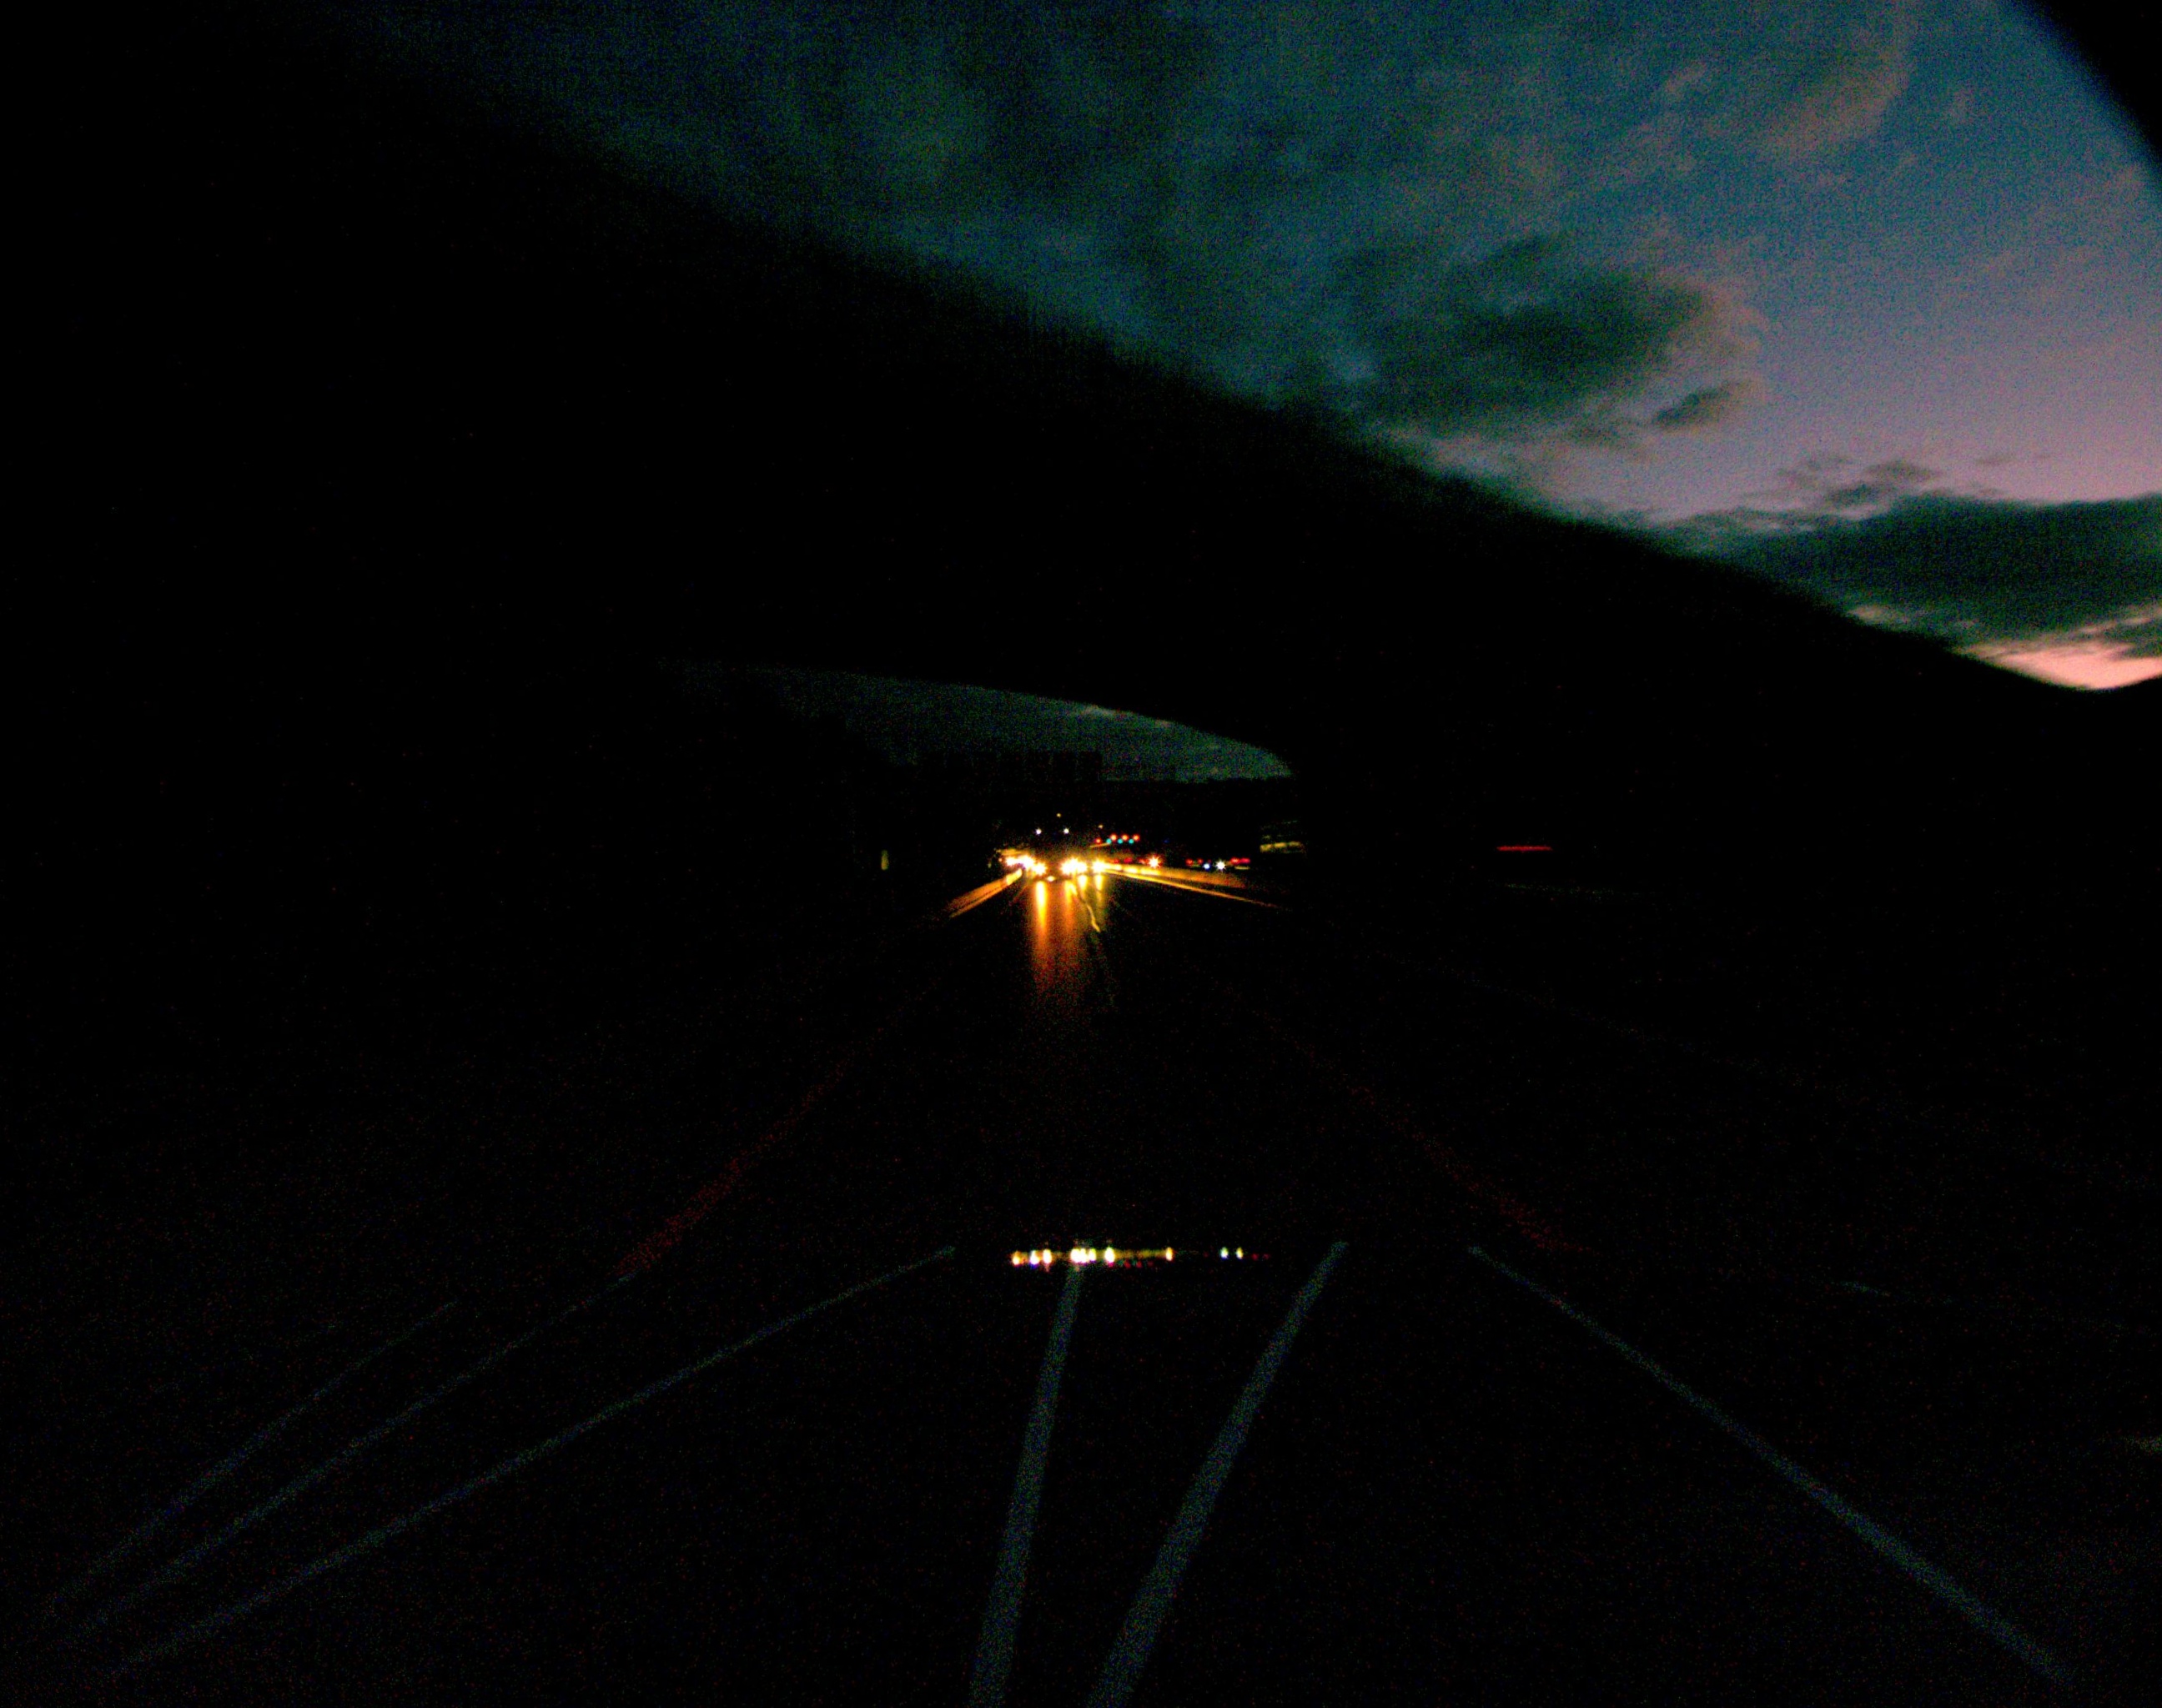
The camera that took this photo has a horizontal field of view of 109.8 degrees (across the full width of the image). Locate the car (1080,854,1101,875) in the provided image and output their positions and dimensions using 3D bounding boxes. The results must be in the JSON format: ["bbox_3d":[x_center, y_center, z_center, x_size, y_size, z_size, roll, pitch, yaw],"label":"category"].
[{"bbox_3d":[0.830,0.849,64.556,1.663,1.586,3.996,-3,0,1],"label":"car"}]

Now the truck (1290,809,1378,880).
[{"bbox_3d":[14.658,-0.526,44.525,2.810,3.753,6.301,-3,1,-1],"label":"truck"}]

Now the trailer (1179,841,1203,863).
[{"bbox_3d":[21.868,-0.381,151.747,2.786,4.181,12.400,-3,0,-1],"label":"trailer"}]

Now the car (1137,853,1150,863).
[{"bbox_3d":[9.994,0.670,121.117,1.510,1.472,3.823,-3,0,-3],"label":"car"}]

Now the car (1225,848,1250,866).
[{"bbox_3d":[20.304,0.398,98.878,1.999,2.177,4.800,-3,0,-3],"label":"car"}]

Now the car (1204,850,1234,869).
[{"bbox_3d":[14.974,0.581,82.904,2.096,1.873,4.699,-3,0,-3],"label":"car"}]

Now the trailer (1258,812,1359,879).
[{"bbox_3d":[14.577,-0.538,50.065,2.806,3.761,11.833,-3,0,-1],"label":"trailer"}]

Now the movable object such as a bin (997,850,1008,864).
[{"bbox_3d":[-18.899,0.708,182.647,2.572,3.298,5.576,0,0,-5],"label":"movable object such as a bin"}]

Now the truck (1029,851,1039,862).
[{"bbox_3d":[-12.736,0.576,205.189,1.998,2.817,6.296,-3,0,2],"label":"truck"}]

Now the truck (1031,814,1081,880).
[{"bbox_3d":[-2.008,-0.464,56.076,2.955,4.241,11.047,-3,0,-4],"label":"truck"}]

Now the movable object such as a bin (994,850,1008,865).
[{"bbox_3d":[-16.778,0.699,159.479,2.628,3.090,5.803,-1,0,-5],"label":"movable object such as a bin"}]

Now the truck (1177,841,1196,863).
[{"bbox_3d":[21.800,-0.416,156.646,2.784,4.147,6.384,-3,1,-1],"label":"truck"}]
